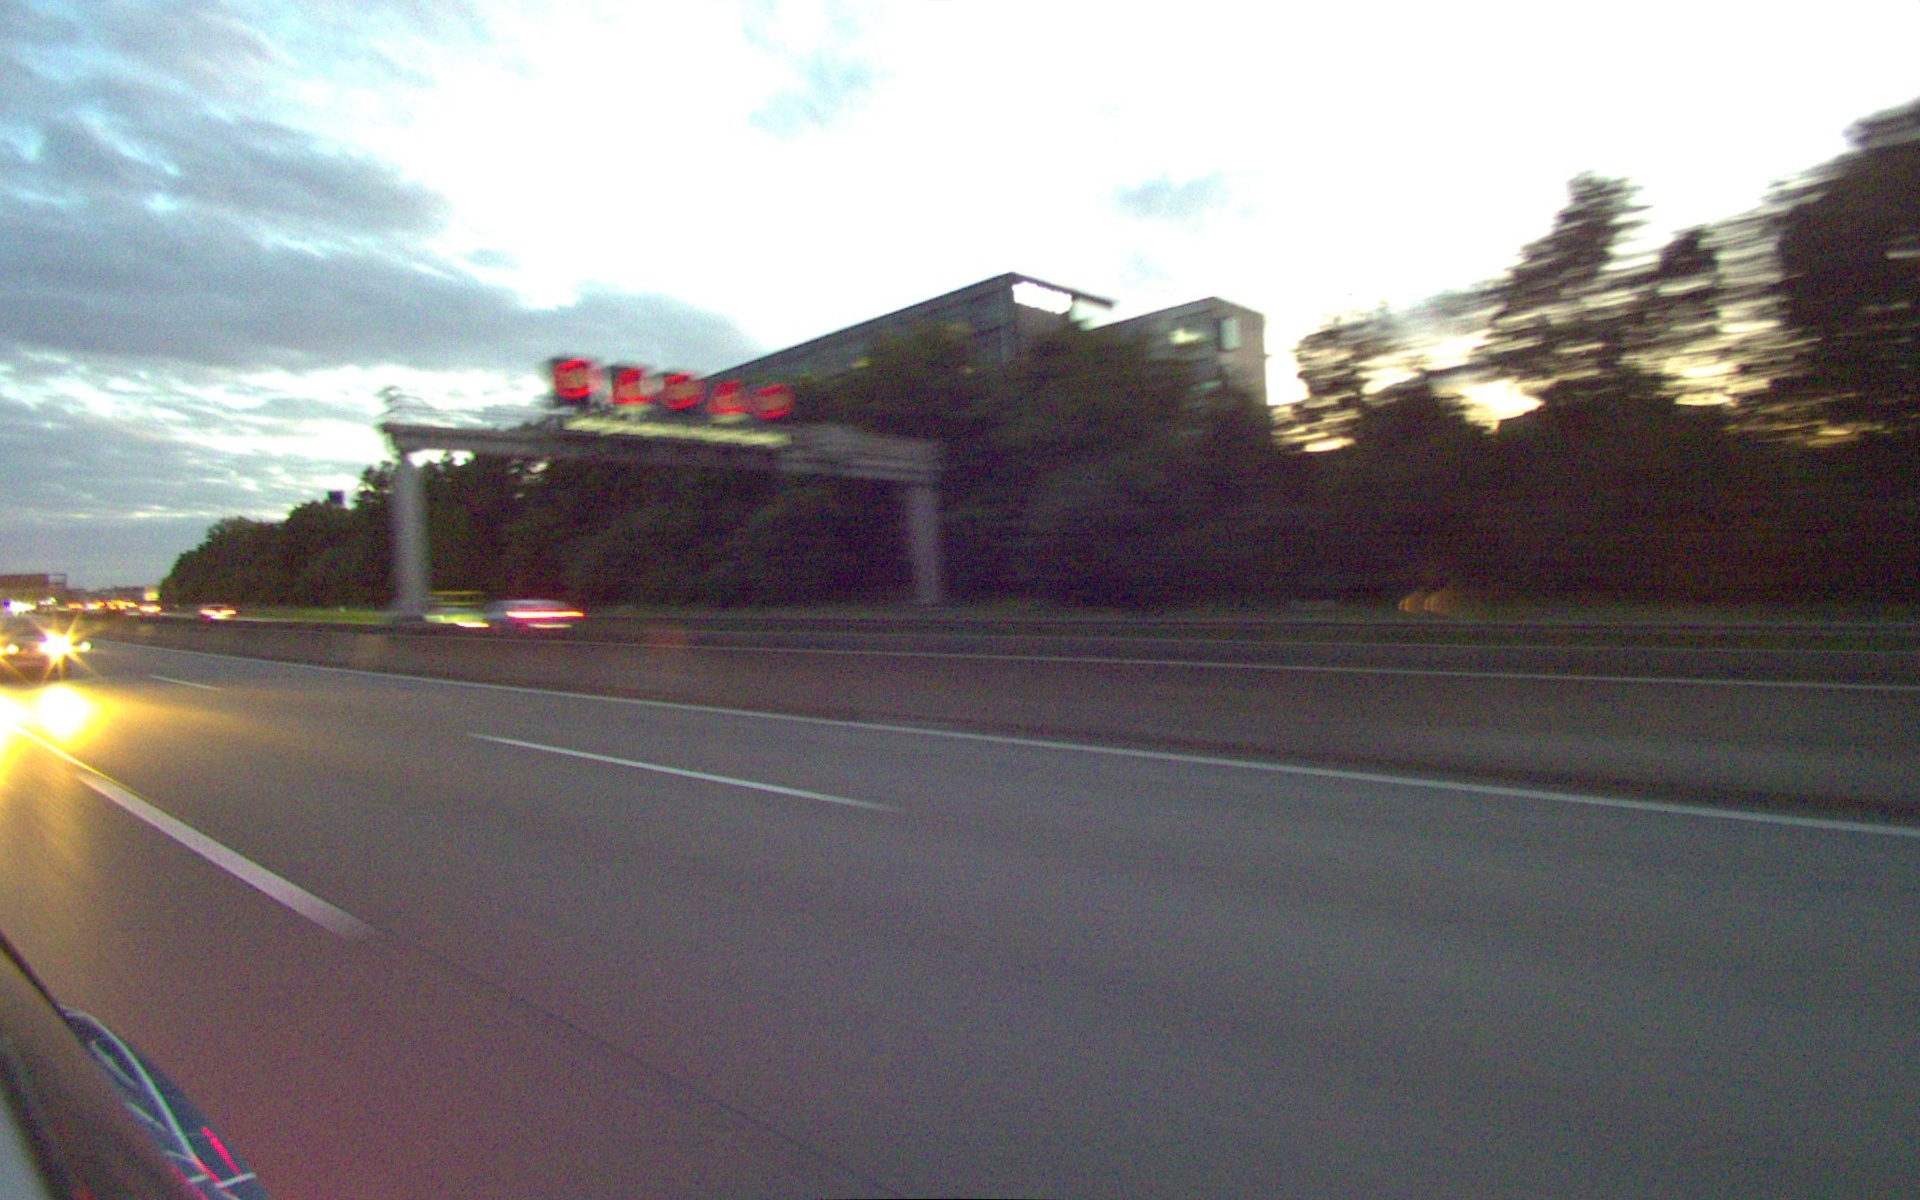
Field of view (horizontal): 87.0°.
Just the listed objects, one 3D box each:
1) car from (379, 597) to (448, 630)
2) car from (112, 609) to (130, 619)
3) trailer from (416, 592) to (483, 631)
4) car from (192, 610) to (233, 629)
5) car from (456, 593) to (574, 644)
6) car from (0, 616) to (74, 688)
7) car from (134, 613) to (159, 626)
[{"bbox_3d":[-32.651,0.780,60.424,5.523,1.881,1.892,0,1,43],"label":"car"},{"bbox_3d":[-146.134,2.442,176.279,4.508,1.516,1.971,0,1,45],"label":"car"},{"bbox_3d":[-28.462,0.631,56.362,4.240,2.017,1.892,-1,1,42],"label":"trailer"},{"bbox_3d":[-57.824,1.496,78.273,4.897,1.364,1.671,0,1,43],"label":"car"},{"bbox_3d":[-17.923,0.701,40.624,6.012,1.881,1.893,0,1,41],"label":"car"},{"bbox_3d":[-22.019,1.155,23.483,3.998,1.491,1.695,0,1,42],"label":"car"},{"bbox_3d":[-108.718,2.568,135.304,5.008,1.545,1.971,0,1,44],"label":"car"}]
